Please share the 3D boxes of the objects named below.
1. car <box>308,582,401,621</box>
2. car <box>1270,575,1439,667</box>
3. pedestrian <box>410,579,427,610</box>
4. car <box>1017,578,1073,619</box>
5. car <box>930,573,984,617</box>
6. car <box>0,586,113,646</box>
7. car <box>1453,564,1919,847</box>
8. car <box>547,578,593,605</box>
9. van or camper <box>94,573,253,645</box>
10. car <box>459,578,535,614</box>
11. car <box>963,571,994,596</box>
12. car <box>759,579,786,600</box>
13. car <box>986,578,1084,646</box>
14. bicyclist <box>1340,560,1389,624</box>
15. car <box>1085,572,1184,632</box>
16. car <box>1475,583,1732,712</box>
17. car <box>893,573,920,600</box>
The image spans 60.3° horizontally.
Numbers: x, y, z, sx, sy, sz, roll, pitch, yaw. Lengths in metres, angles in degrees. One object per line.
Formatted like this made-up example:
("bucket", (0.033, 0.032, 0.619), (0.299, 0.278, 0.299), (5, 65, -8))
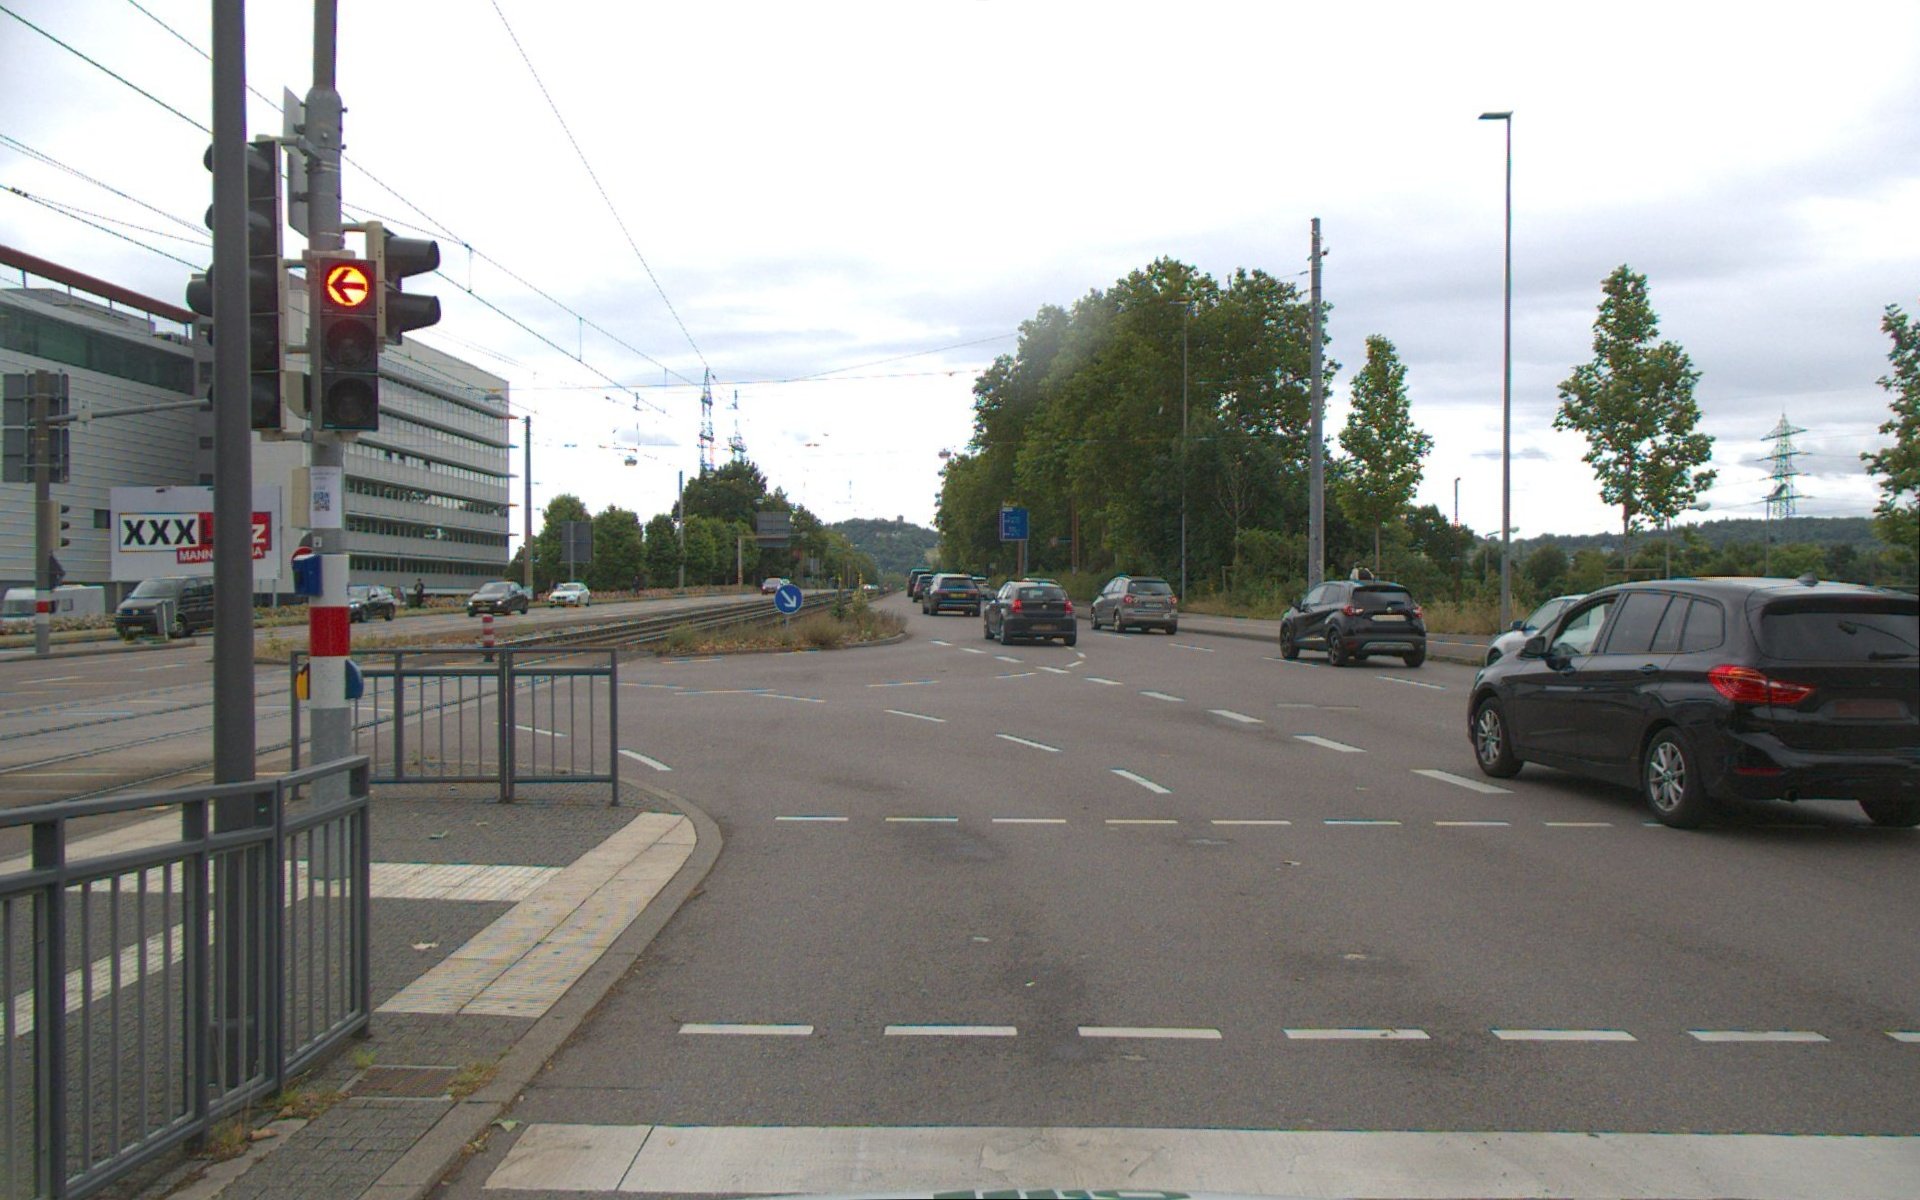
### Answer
("car", (-24.071, 0.035, 65.912), (1.921, 1.489, 4.324), (0, 0, 3))
("car", (7.545, 0.374, 32.089), (1.821, 1.589, 4.312), (2, 0, -6))
("pedestrian", (-30.031, -0.308, 91.729), (0.667, 1.718, 0.561), (1, -1, 3))
("car", (3.231, -0.036, 63.556), (1.779, 1.506, 3.670), (1, 0, -3))
("car", (-0.150, -0.175, 59.815), (1.779, 1.506, 3.670), (1, 0, -3))
("car", (-48.491, 0.847, 88.246), (2.702, 3.042, 6.953), (1, 0, 2))
("car", (5.350, 0.603, 11.995), (1.797, 1.665, 4.310), (0, 1, -8))
("car", (-23.400, -0.522, 99.354), (1.692, 1.566, 4.047), (1, 1, 1))
("van or camper", (-25.102, 0.238, 53.010), (2.072, 2.048, 4.758), (-3, 1, 11))
("car", (-20.448, -0.193, 73.205), (1.792, 1.489, 4.211), (1, 1, 6))
("car", (1.181, -1.057, 107.405), (1.779, 1.506, 3.670), (1, 0, -3))
("car", (-16.790, -0.958, 148.119), (1.953, 1.758, 4.000), (1, 1, 0))
("car", (1.685, 0.242, 38.124), (1.713, 1.456, 3.371), (1, 1, -7))
("bicyclist", (9.855, -0.206, 40.332), (0.802, 1.504, 0.997), (-2, 2, -11))
("car", (4.946, 0.051, 47.490), (1.822, 1.589, 4.309), (2, 0, -8))
("car", (8.460, 0.570, 22.098), (1.695, 1.535, 3.628), (1, 1, -7))
("car", (-3.693, -0.902, 113.061), (1.779, 1.724, 3.998), (1, 0, -3))
